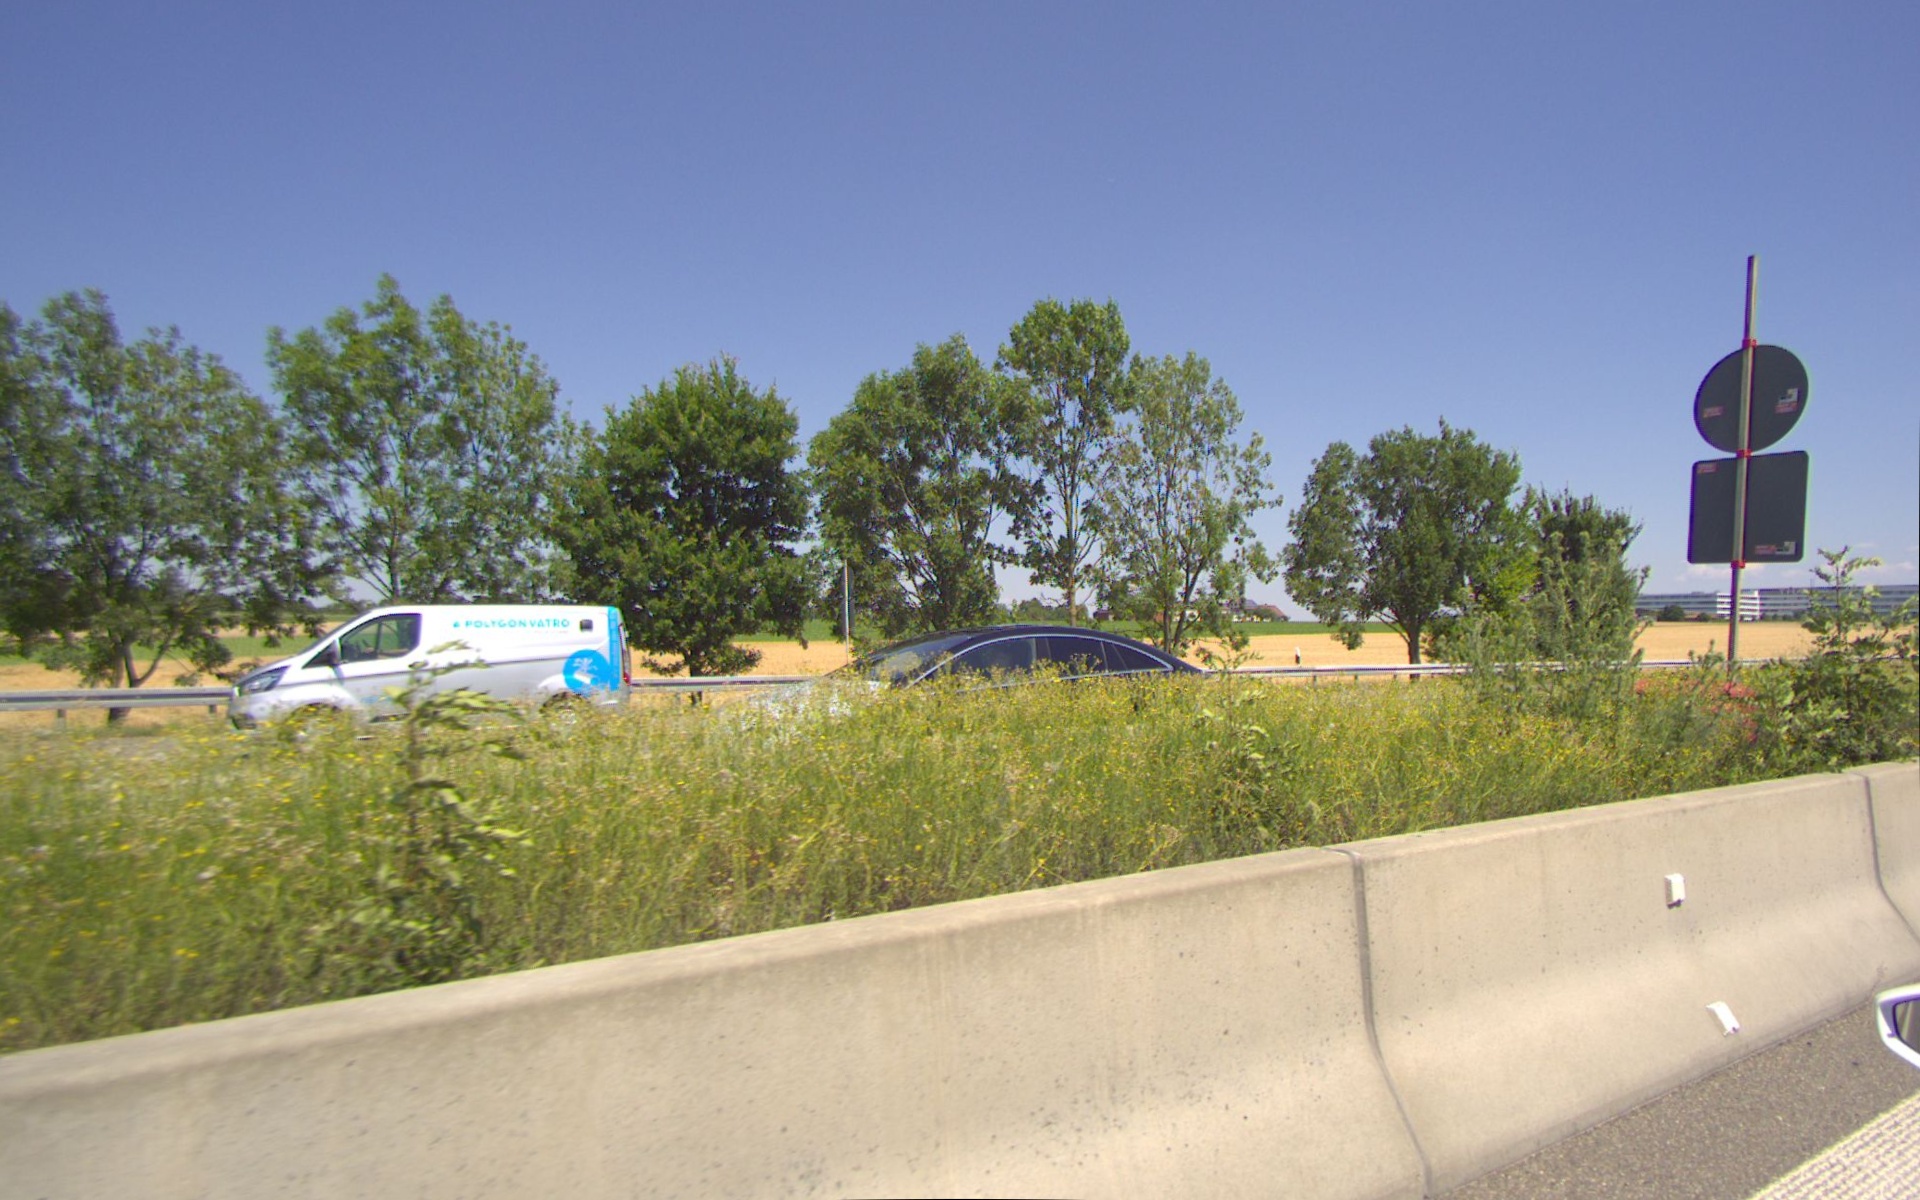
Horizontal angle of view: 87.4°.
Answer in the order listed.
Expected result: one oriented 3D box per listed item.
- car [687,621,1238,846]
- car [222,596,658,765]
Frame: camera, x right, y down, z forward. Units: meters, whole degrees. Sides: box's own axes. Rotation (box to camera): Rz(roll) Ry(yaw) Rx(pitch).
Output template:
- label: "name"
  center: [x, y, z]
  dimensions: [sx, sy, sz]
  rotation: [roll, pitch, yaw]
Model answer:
- label: "car"
  center: [0.132, 0.990, 8.935]
  dimensions: [4.670, 1.570, 1.754]
  rotation: [1, -2, -30]
- label: "car"
  center: [-6.948, 1.028, 13.887]
  dimensions: [5.060, 1.978, 1.753]
  rotation: [1, -3, -32]
